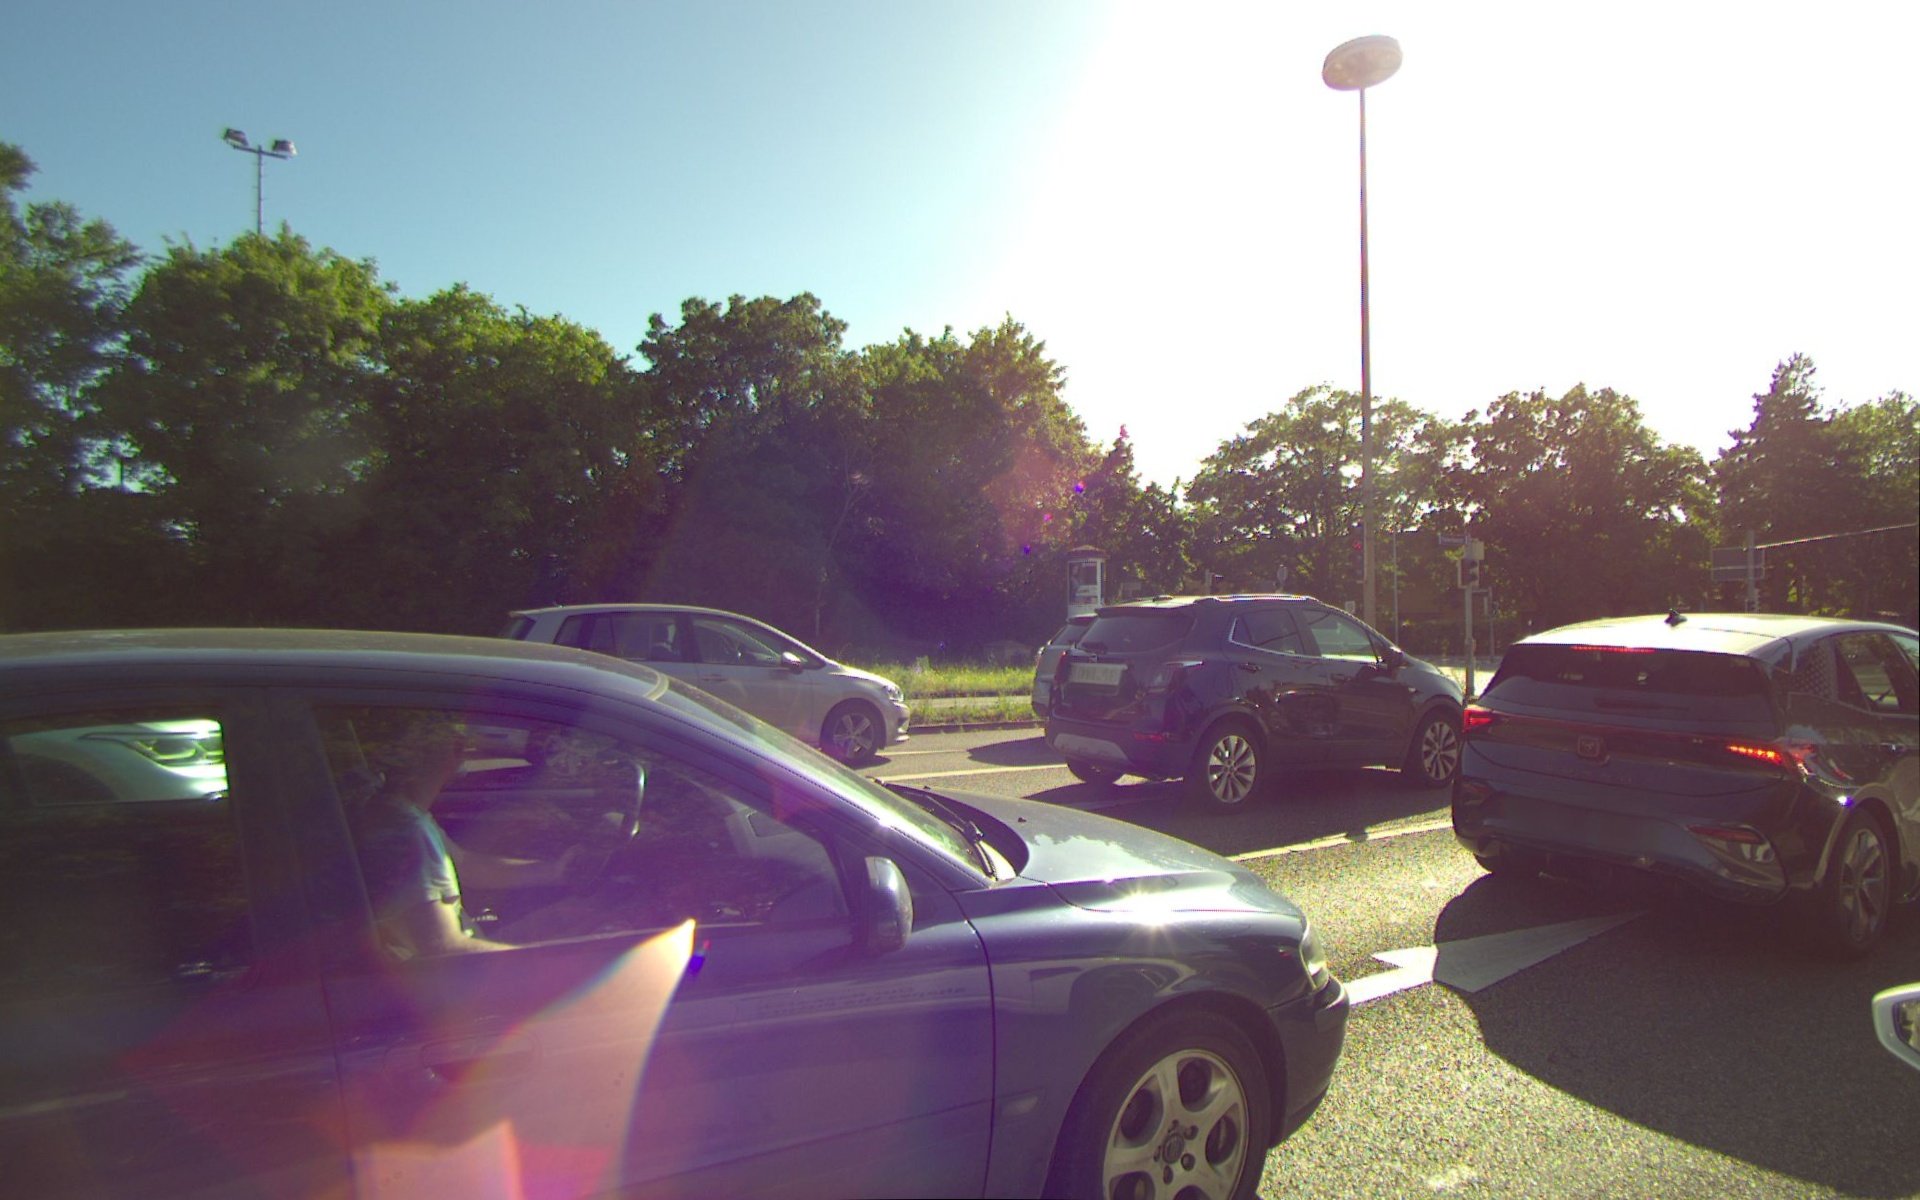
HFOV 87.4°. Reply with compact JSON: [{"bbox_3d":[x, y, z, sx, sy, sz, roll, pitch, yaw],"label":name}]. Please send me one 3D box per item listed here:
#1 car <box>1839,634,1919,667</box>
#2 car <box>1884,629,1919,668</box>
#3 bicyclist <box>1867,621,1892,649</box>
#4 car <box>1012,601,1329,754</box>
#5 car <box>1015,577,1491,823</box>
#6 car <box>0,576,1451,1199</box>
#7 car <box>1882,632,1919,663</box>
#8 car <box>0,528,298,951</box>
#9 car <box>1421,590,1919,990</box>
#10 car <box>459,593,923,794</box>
[{"bbox_3d":[43.455,2.353,47.486,3.956,1.529,1.678,1,-2,-30],"label":"car"},{"bbox_3d":[40.526,1.999,41.771,4.451,1.544,1.880,1,-2,-30],"label":"car"},{"bbox_3d":[55.639,2.145,60.806,1.188,1.670,0.870,1,-2,-36],"label":"bicyclist"},{"bbox_3d":[2.803,0.940,13.182,3.956,1.724,1.820,1,-2,-32],"label":"car"},{"bbox_3d":[2.612,0.757,8.794,3.953,1.711,1.796,1,-2,-30],"label":"car"},{"bbox_3d":[-1.104,0.714,2.201,4.404,1.471,1.767,2,0,-30],"label":"car"},{"bbox_3d":[48.784,2.389,51.110,3.956,1.529,1.678,1,-2,-30],"label":"car"},{"bbox_3d":[-5.562,0.578,4.328,4.373,1.732,1.984,1,-2,-30],"label":"car"},{"bbox_3d":[4.732,0.817,5.816,4.158,1.601,1.676,2,-1,-30],"label":"car"},{"bbox_3d":[-2.621,0.822,10.005,4.156,1.632,1.822,1,-2,-30],"label":"car"}]
